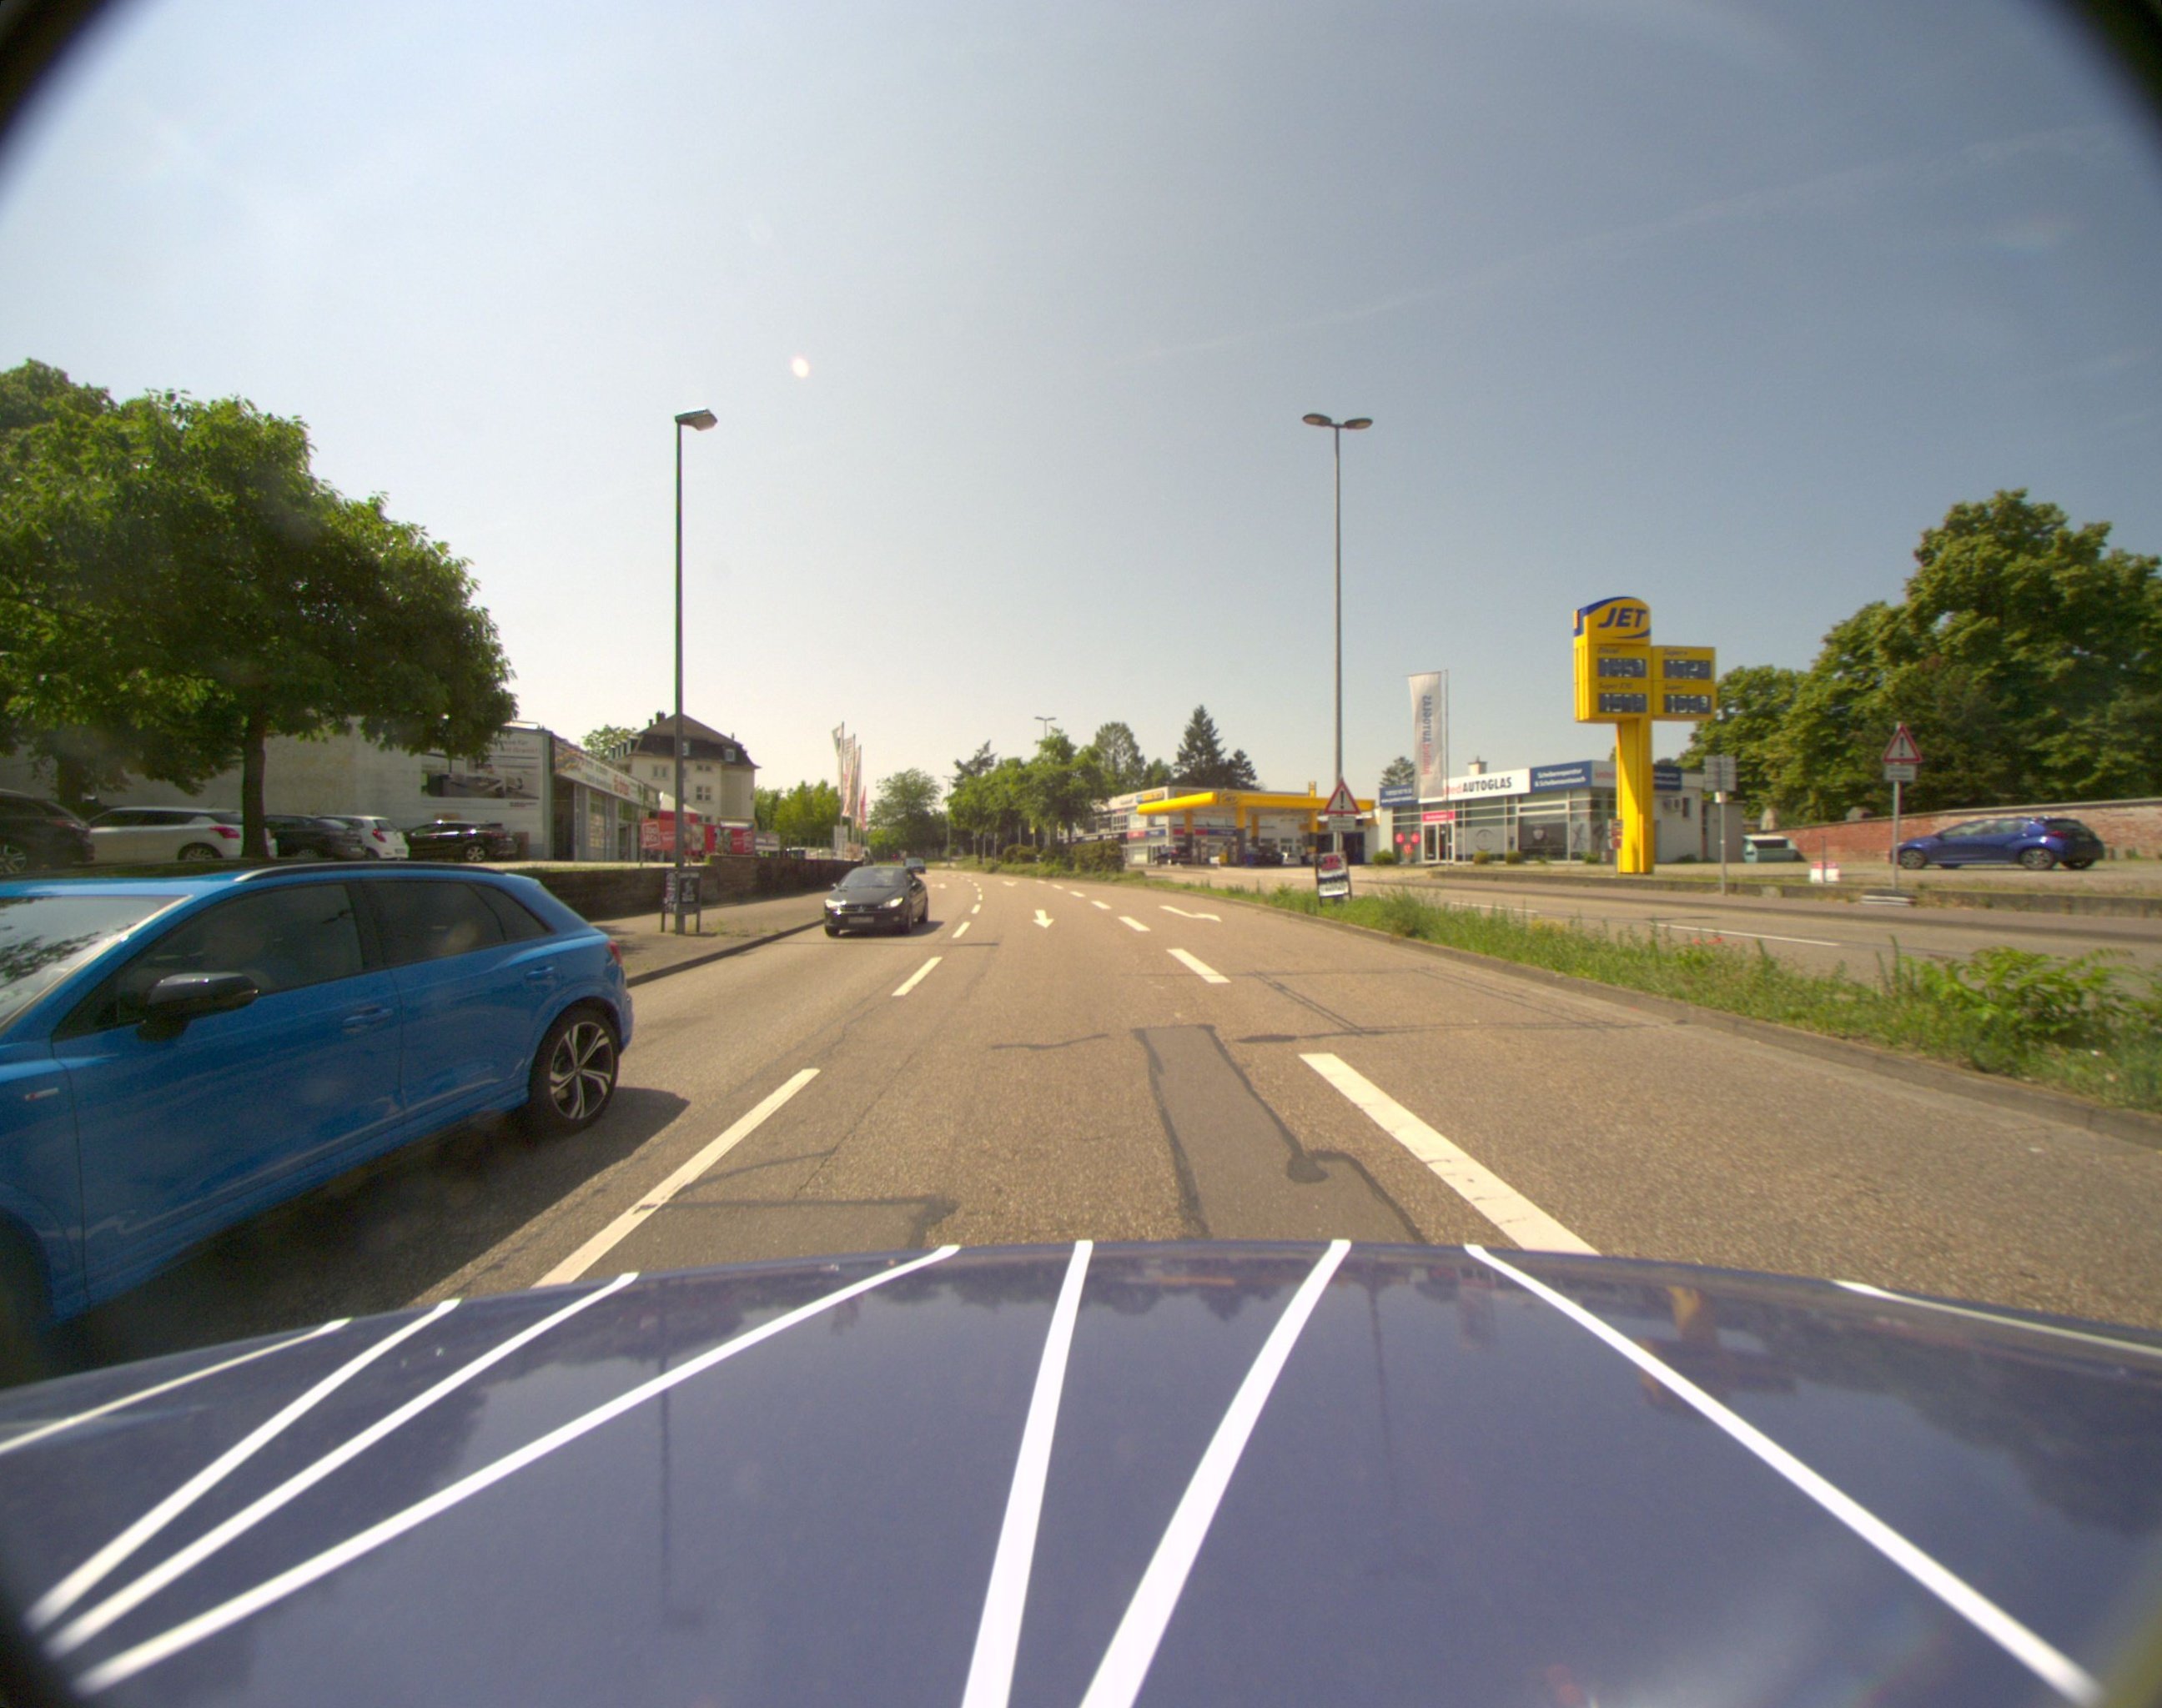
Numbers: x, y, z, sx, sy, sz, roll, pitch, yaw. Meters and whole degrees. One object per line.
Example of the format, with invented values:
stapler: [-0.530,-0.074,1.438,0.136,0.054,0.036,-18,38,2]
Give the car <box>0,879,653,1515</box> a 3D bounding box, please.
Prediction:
car: [-3.826,0.974,2.851,1.918,1.587,4.395,-1,0,0]

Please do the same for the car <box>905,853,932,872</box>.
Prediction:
car: [-13.577,0.718,63.515,1.700,1.366,3.991,0,3,-20]

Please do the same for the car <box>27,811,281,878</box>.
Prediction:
car: [-20.815,-0.229,17.232,3.293,1.403,1.528,-1,1,-18]

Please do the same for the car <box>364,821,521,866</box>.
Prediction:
car: [-23.220,-0.398,27.799,4.003,1.531,1.735,-1,1,-19]

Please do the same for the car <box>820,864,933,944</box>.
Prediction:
car: [-4.243,0.969,16.262,1.604,1.417,3.660,-1,0,-4]

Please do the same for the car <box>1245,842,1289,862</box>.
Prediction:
car: [15.302,-0.135,62.776,1.657,1.534,4.208,-2,1,-15]

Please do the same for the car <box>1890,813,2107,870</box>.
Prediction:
car: [26.237,-0.338,21.912,1.695,1.497,3.626,-1,1,-13]

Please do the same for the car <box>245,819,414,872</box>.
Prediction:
car: [-21.958,-0.265,22.331,3.156,1.463,1.501,-1,1,-15]

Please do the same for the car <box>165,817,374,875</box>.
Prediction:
car: [-21.115,-0.220,19.937,3.323,1.377,1.656,-1,1,-18]

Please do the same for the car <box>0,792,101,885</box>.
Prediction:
car: [-18.520,-0.197,11.666,1.995,1.475,3.855,-2,1,26]

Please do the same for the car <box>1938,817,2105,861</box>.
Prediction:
car: [35.358,-0.542,28.706,1.621,1.497,3.626,-1,1,-13]
